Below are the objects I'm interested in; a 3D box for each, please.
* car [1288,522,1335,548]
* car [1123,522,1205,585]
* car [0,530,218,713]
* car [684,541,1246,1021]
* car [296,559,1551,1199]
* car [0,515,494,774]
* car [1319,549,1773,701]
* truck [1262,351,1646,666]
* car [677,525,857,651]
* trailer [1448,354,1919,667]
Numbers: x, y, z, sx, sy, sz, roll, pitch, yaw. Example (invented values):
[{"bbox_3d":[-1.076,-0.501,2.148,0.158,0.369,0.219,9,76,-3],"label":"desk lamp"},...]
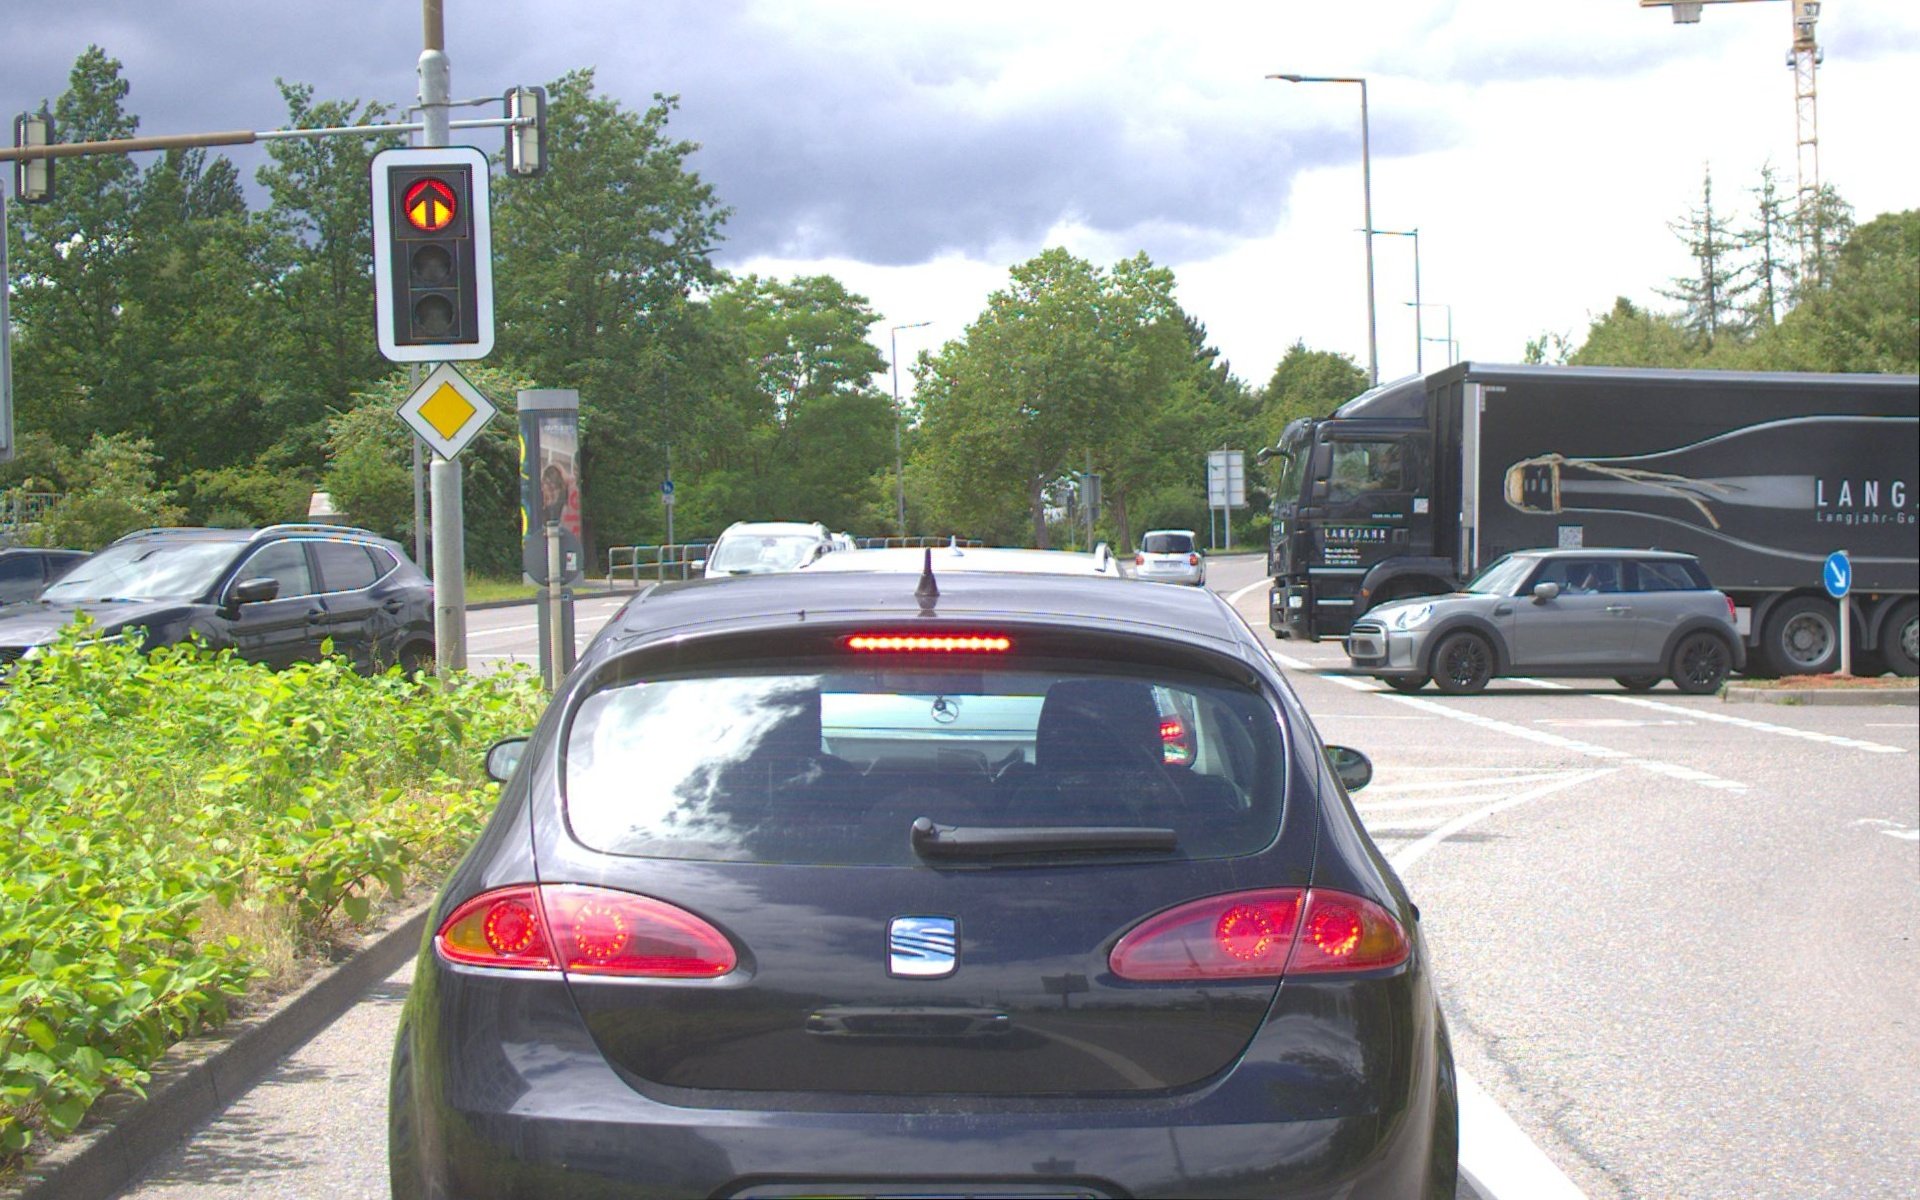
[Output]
[{"bbox_3d":[18.592,-3.445,181.750,1.995,1.347,3.998,0,1,13],"label":"car"},{"bbox_3d":[5.137,-1.198,87.074,1.994,1.525,4.000,0,1,2],"label":"car"},{"bbox_3d":[-8.679,0.185,29.714,1.997,1.520,4.311,-1,1,31],"label":"car"},{"bbox_3d":[-0.067,0.549,12.855,1.773,1.486,3.583,-2,1,-3],"label":"car"},{"bbox_3d":[-0.076,0.664,6.663,1.773,1.447,3.582,0,1,-1],"label":"car"},{"bbox_3d":[-5.400,0.242,23.858,1.997,1.610,4.311,-1,1,31],"label":"car"},{"bbox_3d":[5.806,0.216,34.248,3.986,1.415,2.001,0,1,-14],"label":"car"},{"bbox_3d":[5.531,-1.029,38.843,3.986,3.457,2.000,0,1,-2],"label":"truck"},{"bbox_3d":[-2.519,-0.197,45.893,1.994,1.590,4.000,0,1,3],"label":"car"},{"bbox_3d":[9.500,-1.020,39.055,7.584,3.446,2.000,0,1,-2],"label":"trailer"}]
